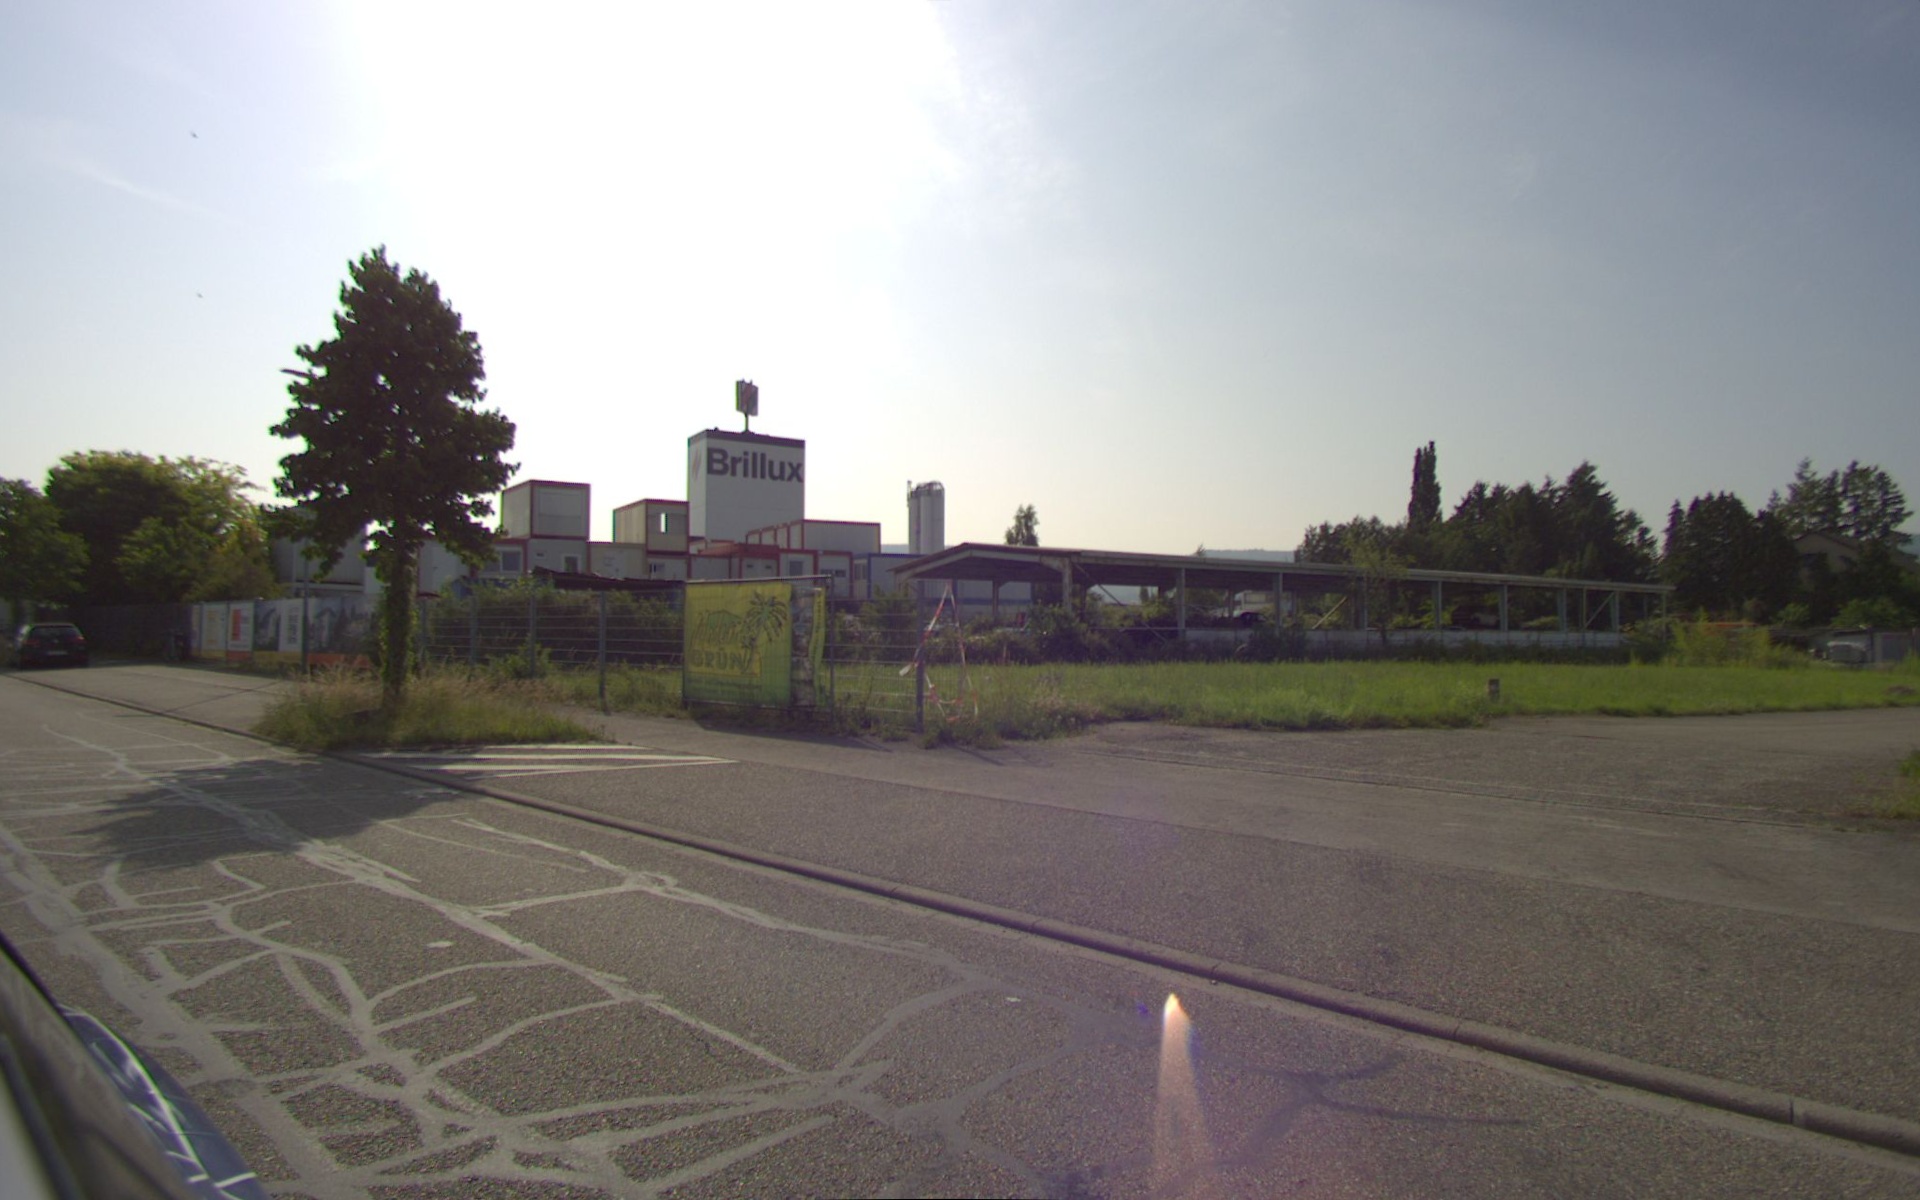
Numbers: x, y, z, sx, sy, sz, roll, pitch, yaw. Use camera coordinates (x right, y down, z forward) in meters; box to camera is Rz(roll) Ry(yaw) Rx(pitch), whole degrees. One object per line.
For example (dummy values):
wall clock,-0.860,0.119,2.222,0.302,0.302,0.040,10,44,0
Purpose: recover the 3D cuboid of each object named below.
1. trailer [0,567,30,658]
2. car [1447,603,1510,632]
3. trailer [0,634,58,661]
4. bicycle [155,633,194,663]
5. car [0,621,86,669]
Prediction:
trailer,-45.164,0.614,46.216,9.755,3.914,2.673,-1,-1,39
car,33.348,1.157,65.083,3.835,1.821,1.752,1,-2,-30
trailer,-38.981,1.900,41.080,6.238,0.993,2.622,-1,-3,40
bicycle,-27.371,1.665,35.265,2.450,0.980,0.556,-1,-2,40
car,-29.948,1.431,33.013,4.092,1.481,1.669,-1,-2,42
